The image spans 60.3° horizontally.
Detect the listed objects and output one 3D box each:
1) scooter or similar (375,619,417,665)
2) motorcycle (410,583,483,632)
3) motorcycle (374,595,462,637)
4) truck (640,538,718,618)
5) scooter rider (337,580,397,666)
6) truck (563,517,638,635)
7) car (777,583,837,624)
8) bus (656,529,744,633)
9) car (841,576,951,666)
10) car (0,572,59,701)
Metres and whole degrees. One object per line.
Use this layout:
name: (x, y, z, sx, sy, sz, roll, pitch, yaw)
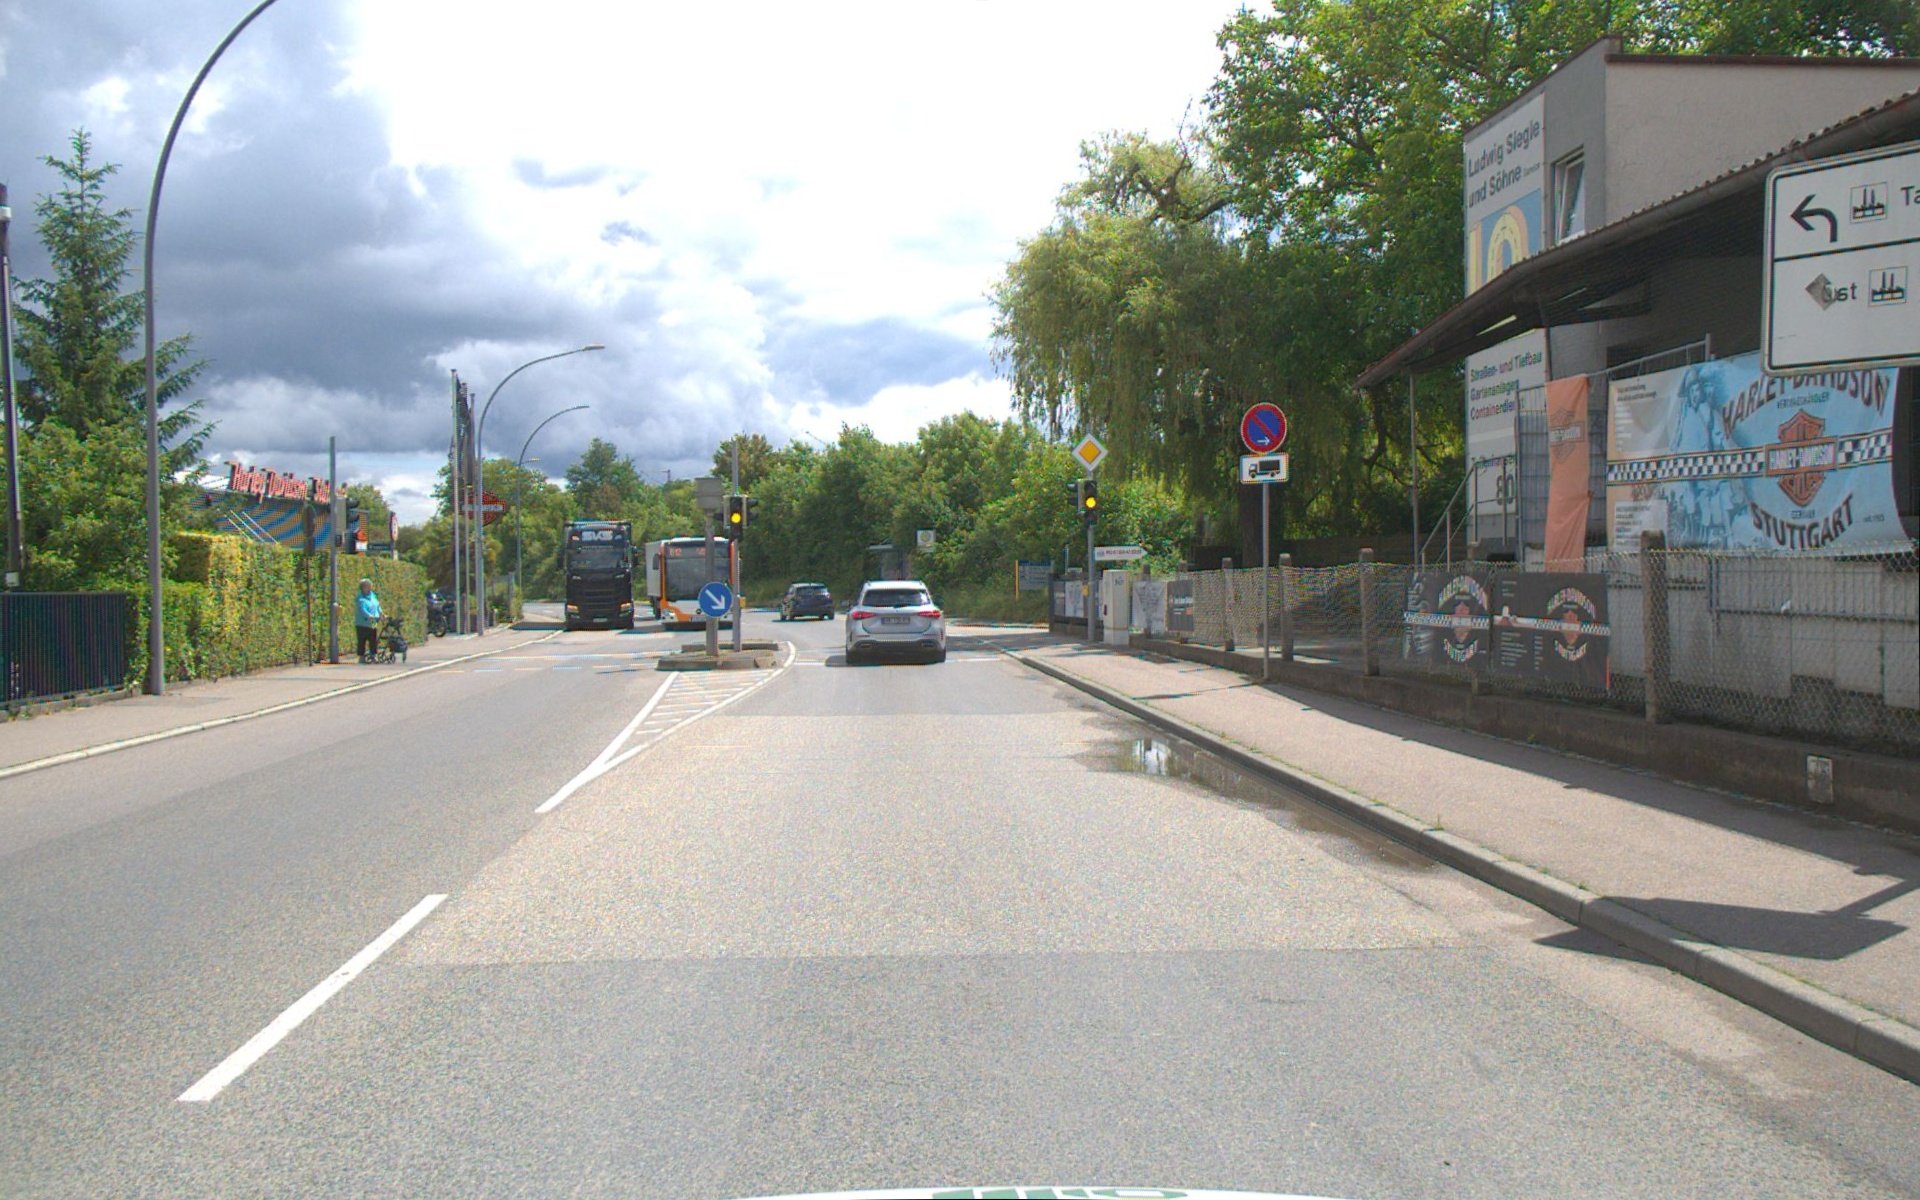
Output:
scooter or similar: (-10.805, 0.807, 31.704, 0.599, 0.846, 0.658, -1, 0, -5)
motorcycle: (-17.991, 0.262, 57.975, 2.254, 1.713, 1.042, 0, 0, 18)
motorcycle: (-16.203, 0.462, 49.441, 2.447, 1.239, 0.927, 0, 0, 18)
truck: (-13.760, -1.059, 80.454, 2.793, 3.602, 9.685, -1, 1, -15)
scooter rider: (-11.397, 0.427, 31.799, 0.861, 1.617, 0.795, -1, 0, -5)
truck: (-13.858, -0.880, 64.223, 2.385, 4.203, 9.128, 1, 0, -10)
car: (-6.036, 0.107, 65.001, 1.852, 1.534, 3.987, -1, 1, -13)
bus: (-9.331, -0.677, 59.961, 2.726, 3.323, 12.101, -2, 1, -8)
car: (-1.241, 0.337, 30.349, 1.848, 1.534, 3.996, 0, 1, -5)
car: (-12.439, 0.461, 19.092, 2.112, 1.533, 4.261, -1, 1, -7)
